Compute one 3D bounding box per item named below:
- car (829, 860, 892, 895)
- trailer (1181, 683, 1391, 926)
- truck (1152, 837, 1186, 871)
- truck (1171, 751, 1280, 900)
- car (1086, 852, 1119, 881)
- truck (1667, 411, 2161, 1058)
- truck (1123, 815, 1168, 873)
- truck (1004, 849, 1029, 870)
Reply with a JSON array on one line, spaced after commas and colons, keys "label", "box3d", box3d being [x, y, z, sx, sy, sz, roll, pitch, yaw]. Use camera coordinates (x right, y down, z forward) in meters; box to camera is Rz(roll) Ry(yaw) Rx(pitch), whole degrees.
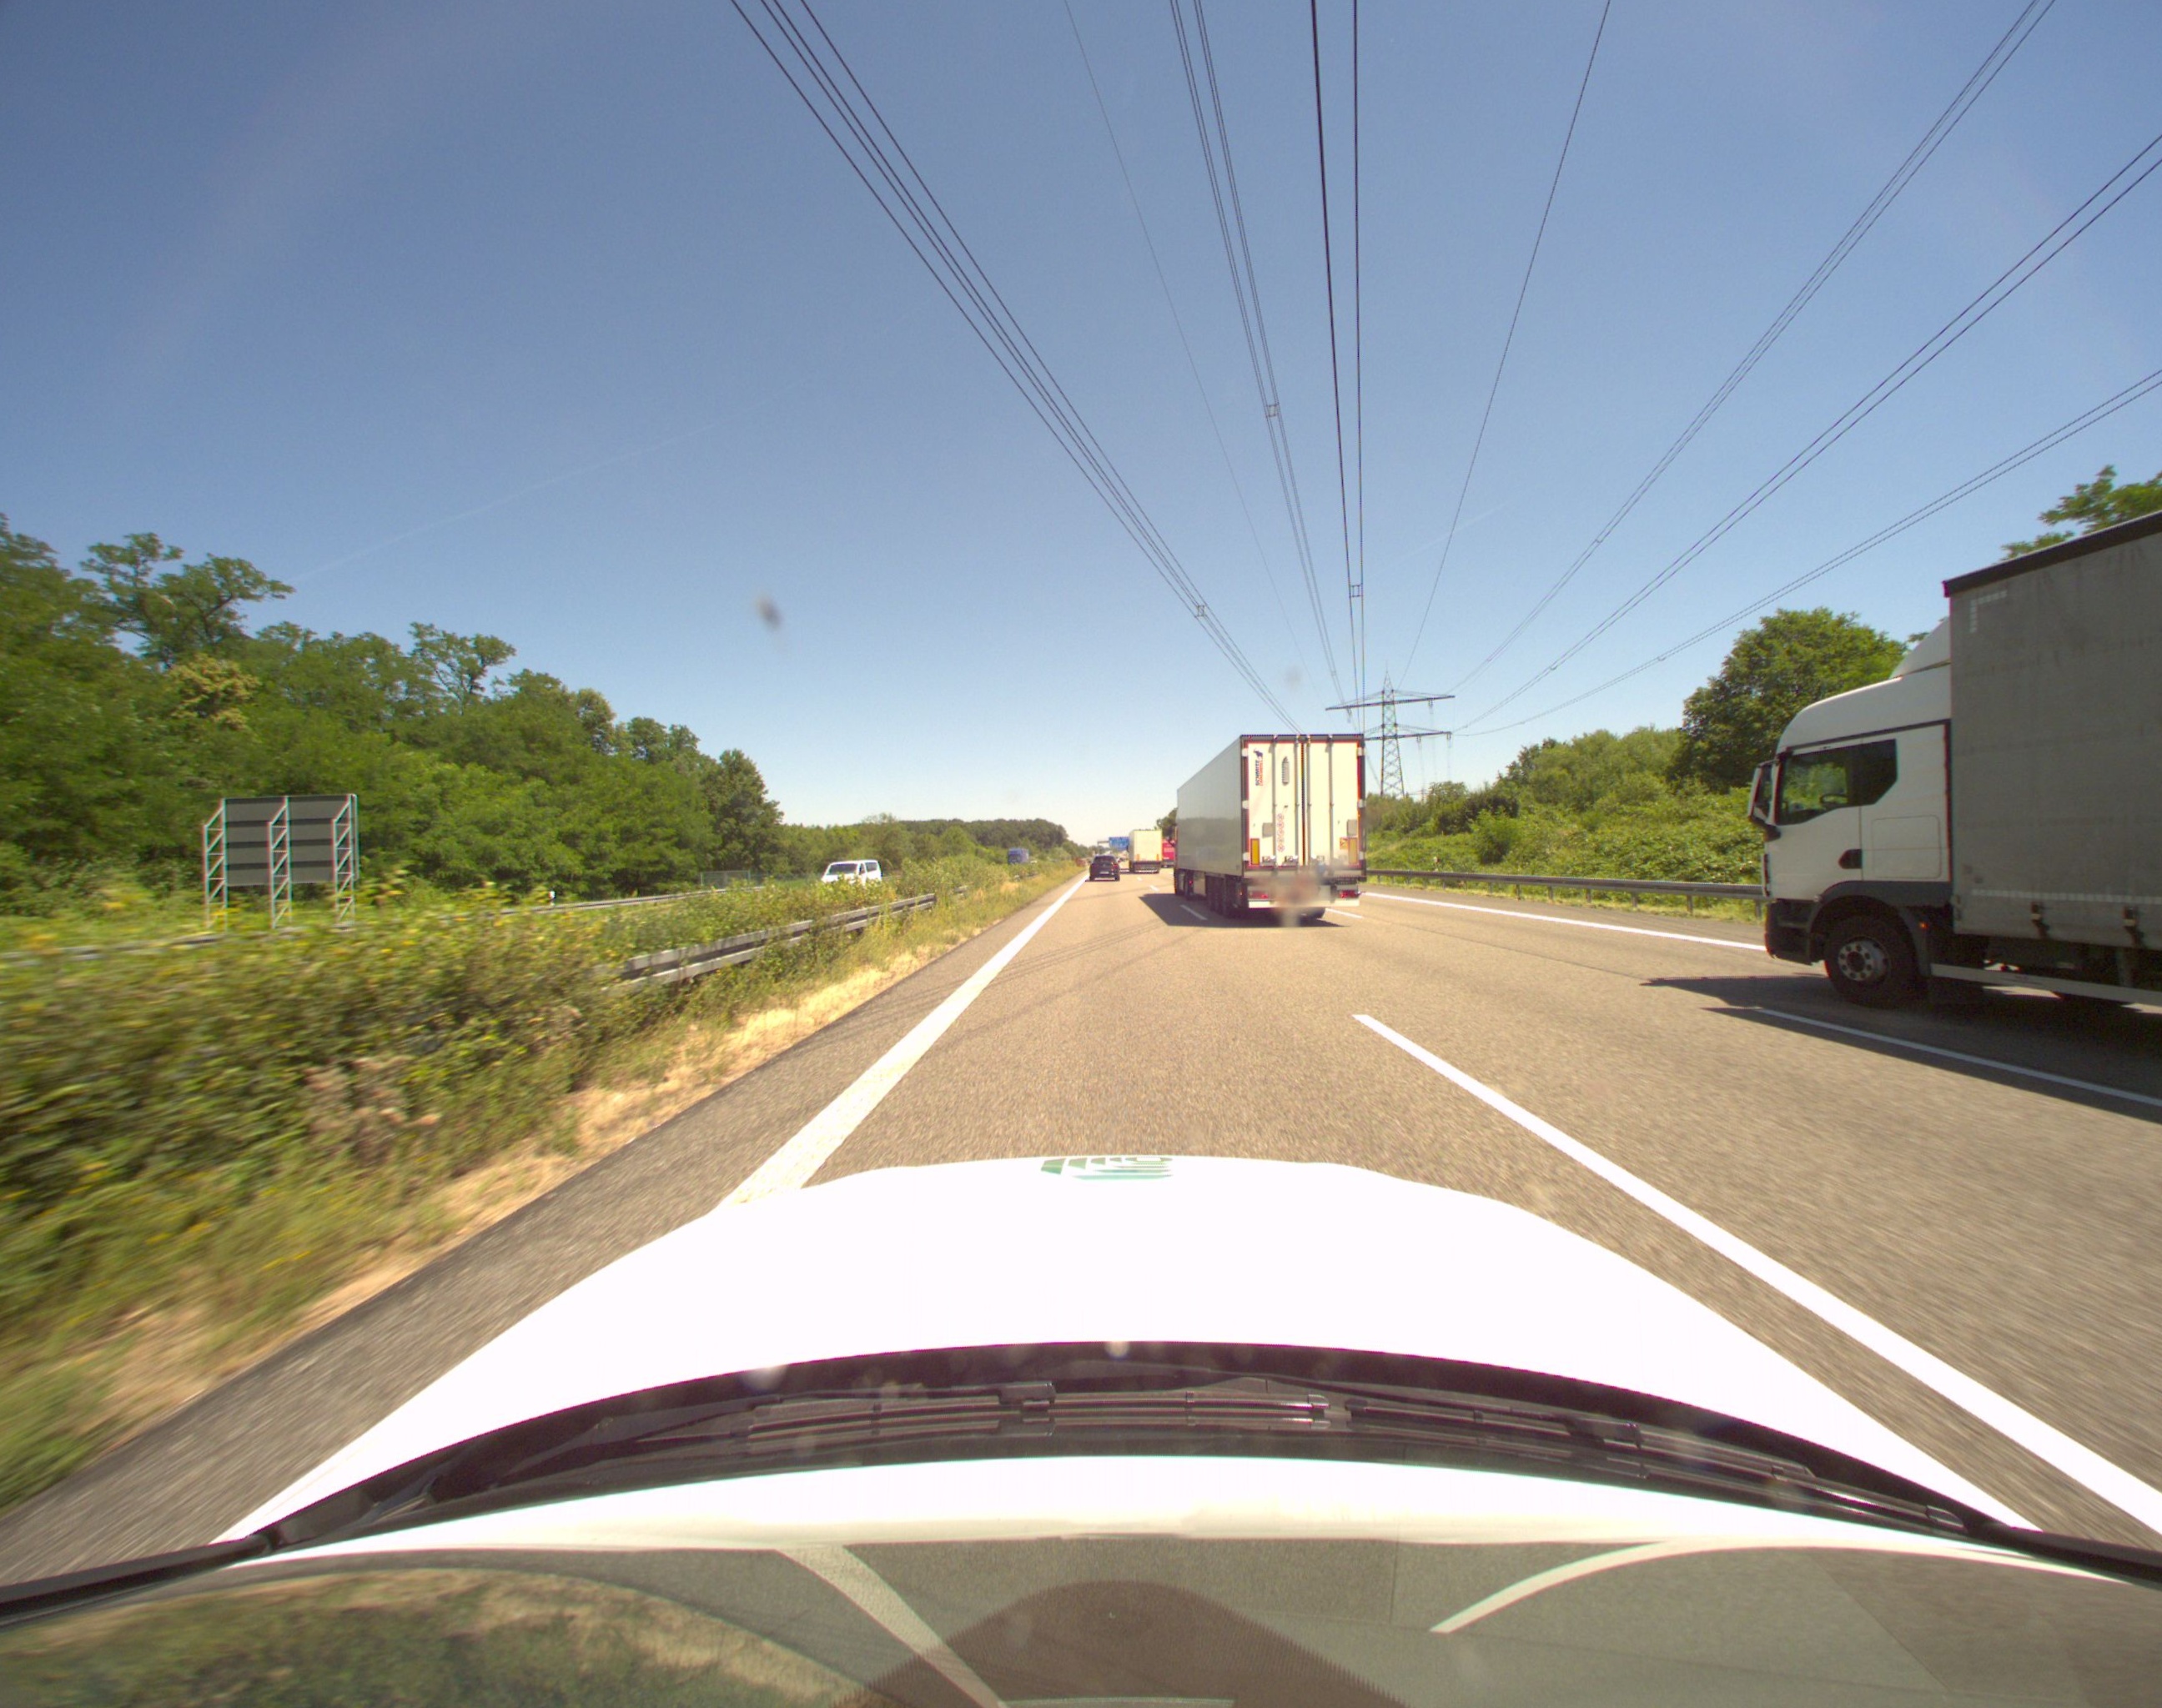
[{"label": "car", "box3d": [-12.114, 1.244, 45.152, 2.021, 1.792, 5.660, -1, 0, -1]}, {"label": "trailer", "box3d": [4.886, -0.963, 22.531, 3.075, 4.885, 12.262, 0, 0, 2]}, {"label": "truck", "box3d": [12.281, -0.062, 114.912, 3.500, 4.492, 13.252, -1, 0, 1]}, {"label": "truck", "box3d": [5.104, -0.919, 30.042, 3.075, 4.885, 6.600, 0, 0, 2]}, {"label": "car", "box3d": [1.395, 0.809, 53.674, 1.987, 1.772, 3.999, -2, 0, 0]}, {"label": "truck", "box3d": [8.835, -0.791, 4.142, 3.558, 4.245, 11.654, 0, 0, 1]}, {"label": "truck", "box3d": [5.983, -0.887, 77.063, 3.500, 5.166, 10.259, -1, 0, 1]}, {"label": "truck", "box3d": [-12.150, 0.992, 154.553, 3.500, 3.769, 12.044, -1, 0, 1]}]
